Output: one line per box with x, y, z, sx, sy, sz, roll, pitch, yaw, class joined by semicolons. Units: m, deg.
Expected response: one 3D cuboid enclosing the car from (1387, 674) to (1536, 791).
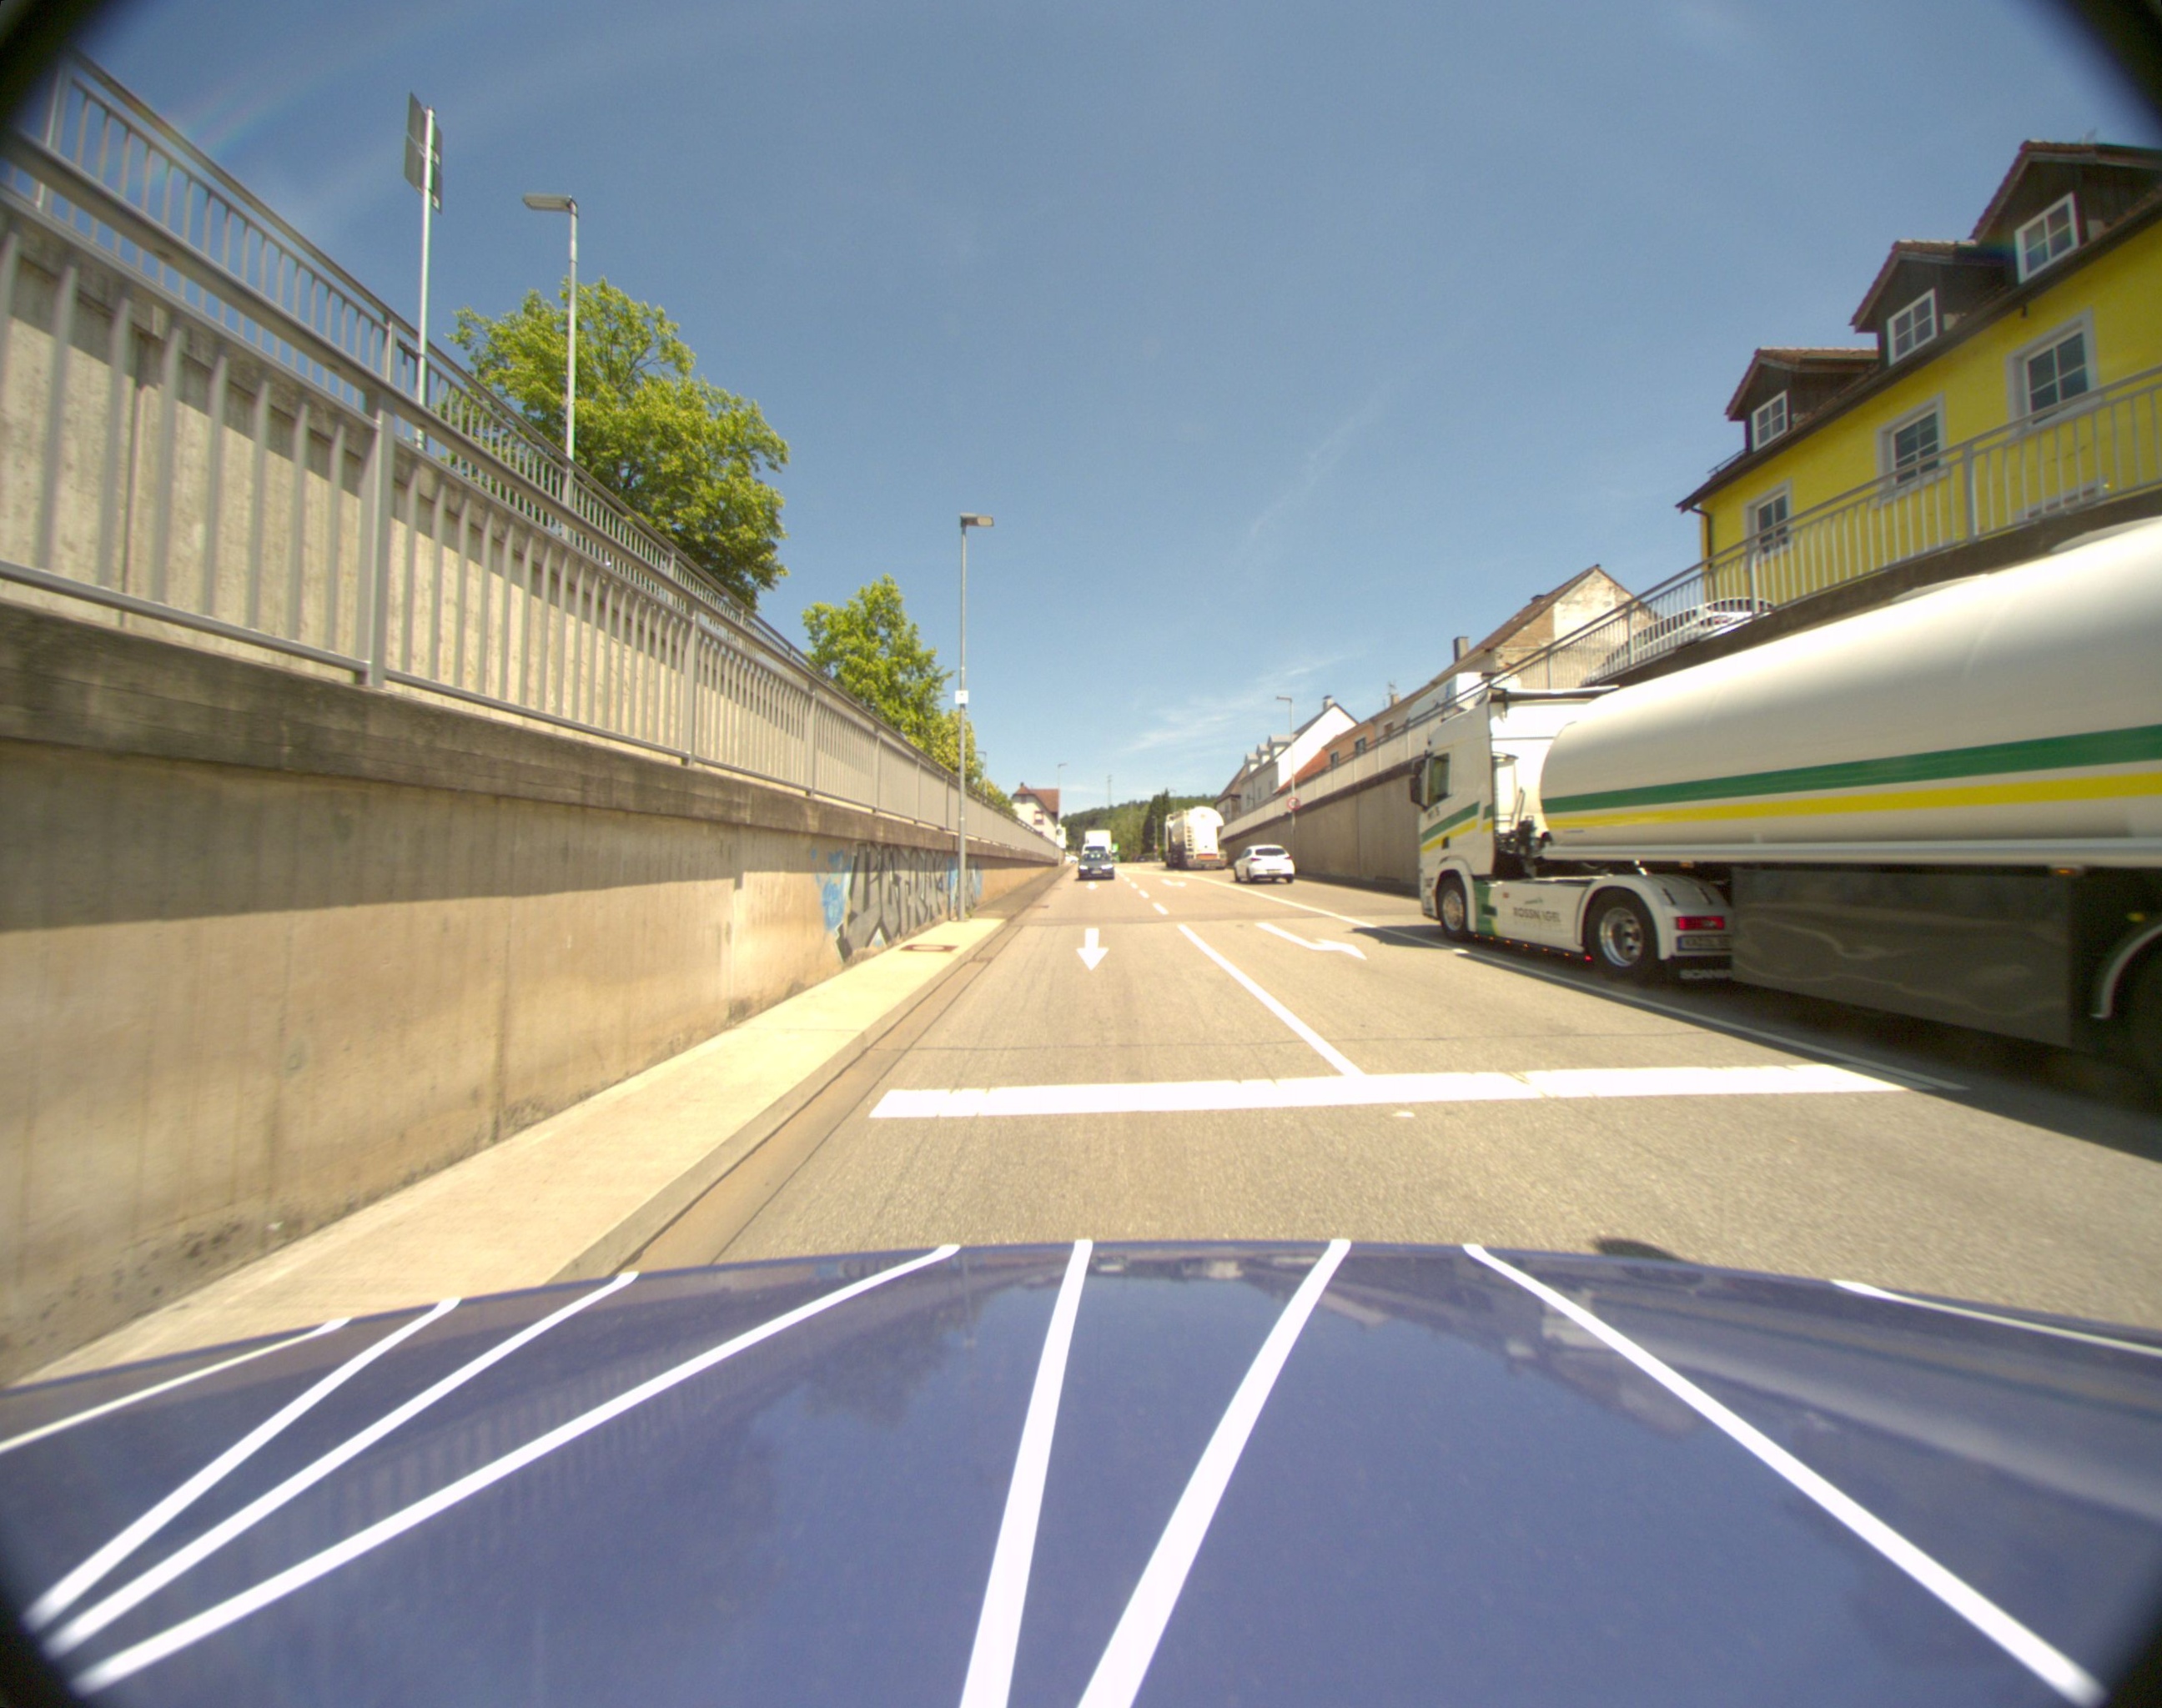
11.842;-3.655;24.216;2.070;2.520;5.665;-2;-2;3;car

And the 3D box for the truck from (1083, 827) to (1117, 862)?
1.910;-1.008;79.805;3.149;3.467;8.269;-1;1;-1;truck

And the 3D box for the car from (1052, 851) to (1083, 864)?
-1.718;0.430;94.409;3.680;1.469;1.775;1;-1;-4;car

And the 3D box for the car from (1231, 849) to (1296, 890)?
7.179;0.562;30.240;1.686;1.432;4.093;-1;1;2;car

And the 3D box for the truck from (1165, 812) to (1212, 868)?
7.826;-1.031;56.182;2.668;3.838;6.579;-1;1;2;truck

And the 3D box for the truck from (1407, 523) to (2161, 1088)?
6.662;-0.337;8.667;2.696;3.642;7.368;-2;0;1;truck

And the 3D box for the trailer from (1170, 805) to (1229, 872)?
7.641;-1.011;50.148;2.616;3.941;9.345;-1;1;2;trailer

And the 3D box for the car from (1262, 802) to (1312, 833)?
12.455;-2.171;46.195;1.818;1.453;4.311;-2;-3;0;car

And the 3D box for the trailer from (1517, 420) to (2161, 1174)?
6.583;-0.302;4.262;2.696;3.642;9.889;-2;0;1;trailer

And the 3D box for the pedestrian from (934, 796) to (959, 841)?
-5.451;-1.420;30.837;0.838;1.771;0.788;0;0;1;pedestrian

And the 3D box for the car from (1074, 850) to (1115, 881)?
0.625;0.541;38.539;1.864;1.441;3.998;-1;1;-2;car

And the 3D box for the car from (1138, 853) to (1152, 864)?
8.931;0.610;105.660;1.764;1.480;4.369;-1;1;3;car

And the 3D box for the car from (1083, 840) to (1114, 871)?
1.249;0.054;52.307;1.998;2.002;4.548;-2;1;2;car

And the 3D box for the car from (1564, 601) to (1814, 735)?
11.827;-3.544;15.190;1.623;1.491;4.045;-2;-2;-1;car
